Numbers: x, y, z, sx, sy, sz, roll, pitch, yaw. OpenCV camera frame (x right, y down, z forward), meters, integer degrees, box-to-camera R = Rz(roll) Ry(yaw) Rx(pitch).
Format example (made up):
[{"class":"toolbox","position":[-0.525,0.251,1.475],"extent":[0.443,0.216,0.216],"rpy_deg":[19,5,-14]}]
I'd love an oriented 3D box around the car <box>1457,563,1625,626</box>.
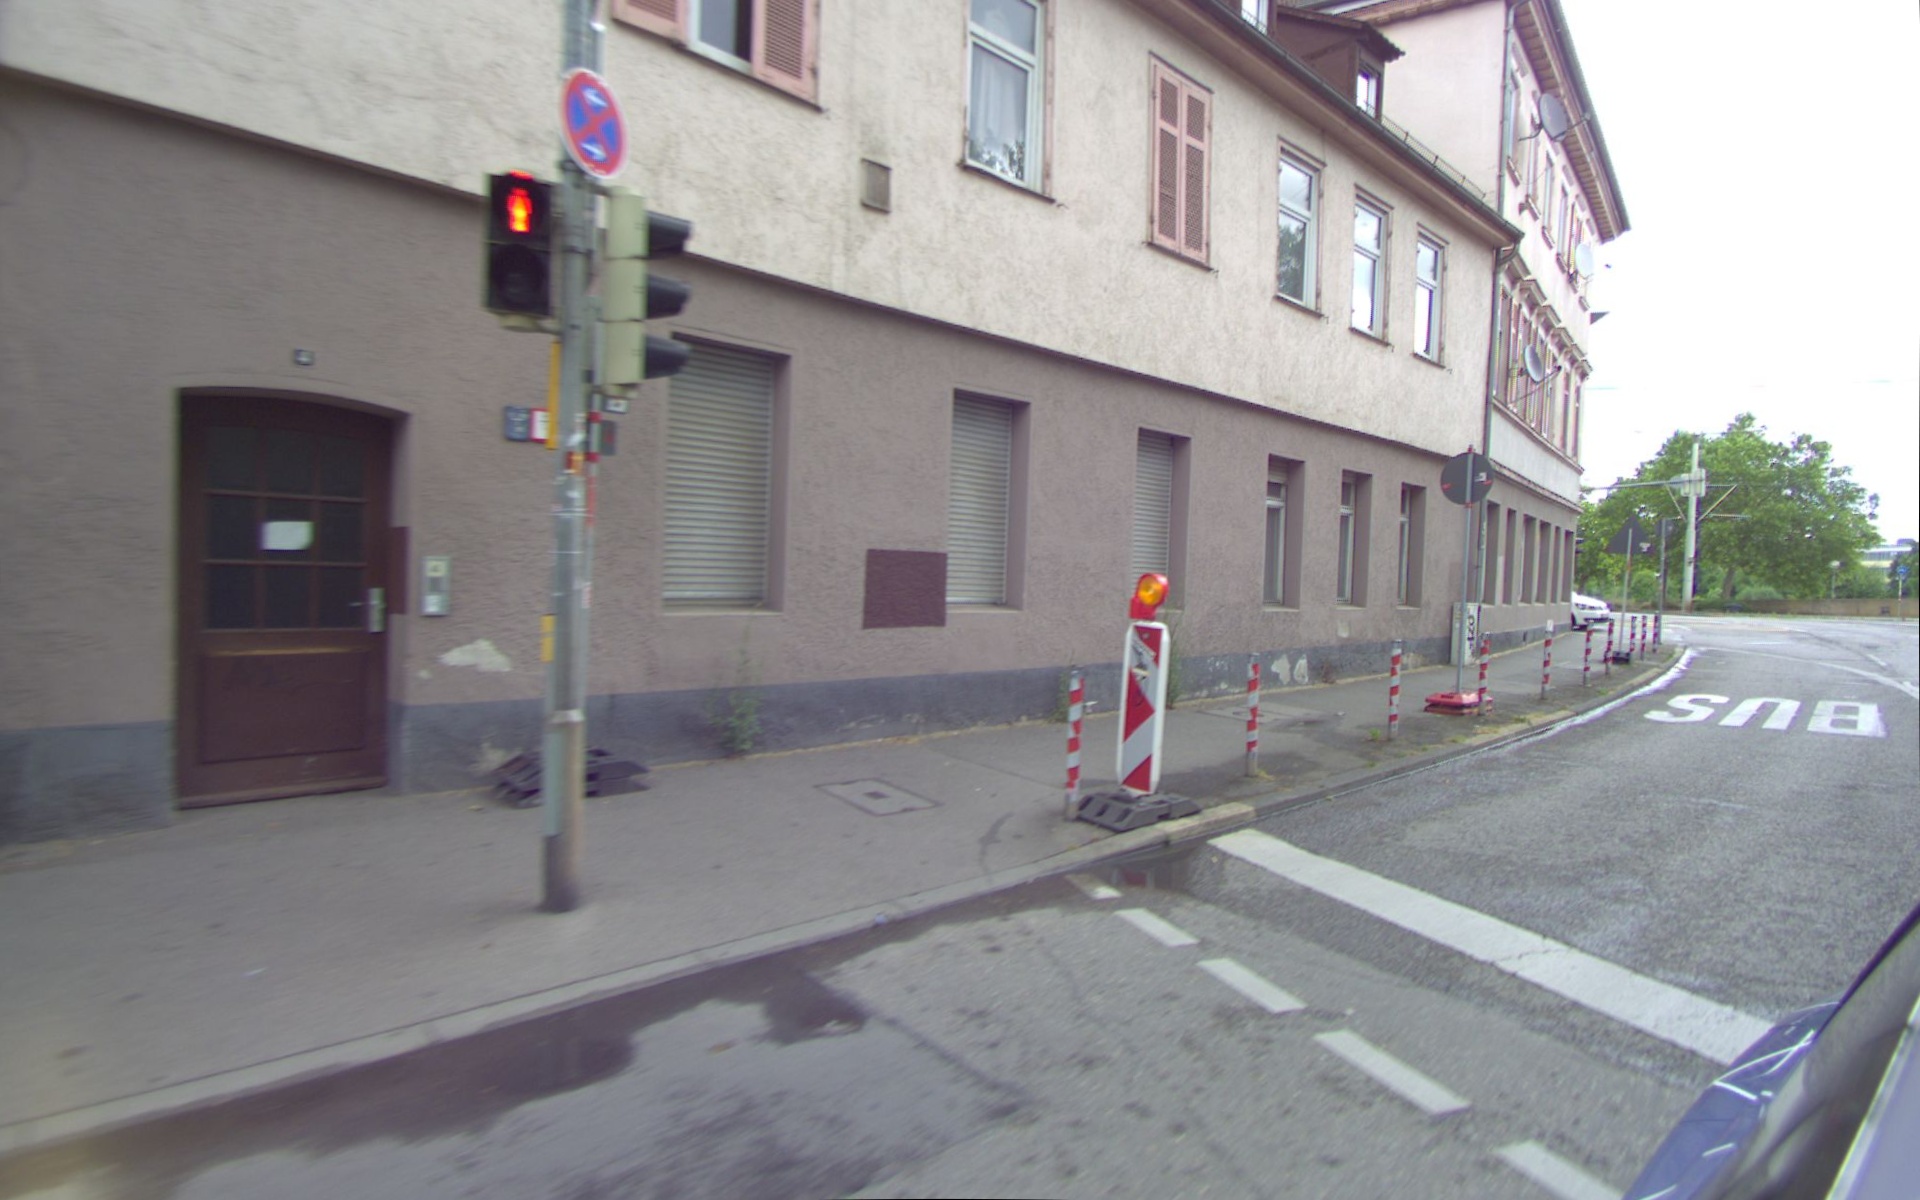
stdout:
[{"class":"car","position":[18.390,-0.176,32.286],"extent":[4.411,1.807,2.057],"rpy_deg":[-1,1,26]}]
